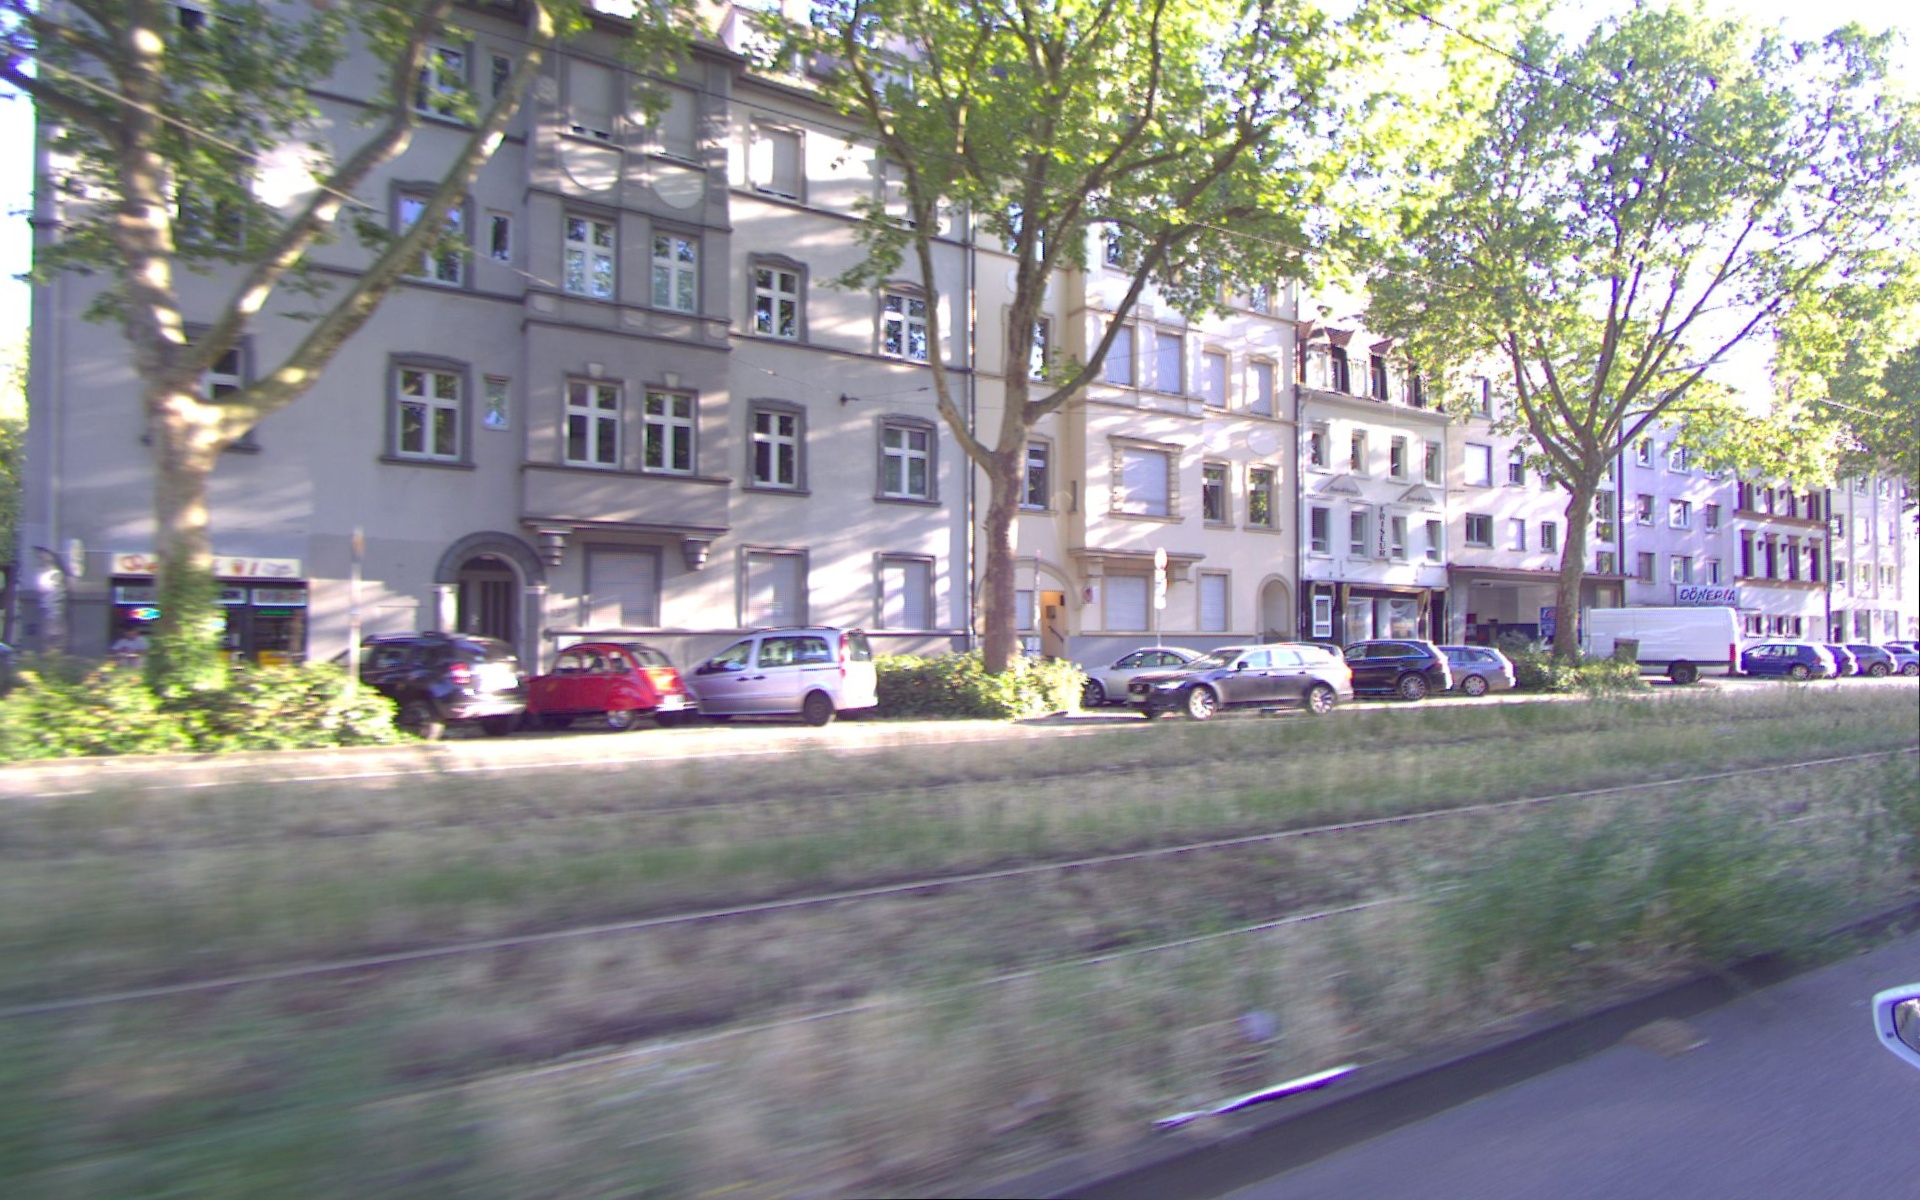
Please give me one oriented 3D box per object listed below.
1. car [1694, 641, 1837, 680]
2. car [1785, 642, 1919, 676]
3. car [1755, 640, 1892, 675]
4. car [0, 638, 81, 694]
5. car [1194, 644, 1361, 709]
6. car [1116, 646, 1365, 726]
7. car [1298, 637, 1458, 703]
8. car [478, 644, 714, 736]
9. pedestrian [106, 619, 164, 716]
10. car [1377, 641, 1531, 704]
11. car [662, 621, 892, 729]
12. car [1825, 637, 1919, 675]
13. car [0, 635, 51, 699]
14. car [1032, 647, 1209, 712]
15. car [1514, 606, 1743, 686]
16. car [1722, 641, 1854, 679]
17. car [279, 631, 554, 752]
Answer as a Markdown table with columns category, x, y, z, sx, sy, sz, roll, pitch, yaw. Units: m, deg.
| category | x | y | z | sx | sy | sz | roll | pitch | yaw |
| --- | --- | --- | --- | --- | --- | --- | --- | --- | --- |
| car | 33.069 | 2.470 | 41.333 | 1.840 | 1.477 | 4.270 | 2 | -3 | -35 |
| car | 41.121 | 2.700 | 46.408 | 4.227 | 1.477 | 1.859 | 0 | -2 | 20 |
| car | 38.505 | 2.550 | 44.916 | 4.227 | 1.477 | 1.859 | 0 | -2 | 20 |
| car | -27.105 | 1.862 | 29.123 | 1.795 | 1.528 | 3.965 | 2 | -2 | -32 |
| car | 8.478 | 2.039 | 26.849 | 3.928 | 1.573 | 1.853 | -4 | -3 | 29 |
| car | 5.713 | 1.707 | 20.402 | 4.853 | 1.479 | 1.743 | 2 | -2 | -22 |
| car | 11.646 | 1.947 | 28.013 | 3.928 | 1.721 | 1.854 | -3 | -4 | 29 |
| car | -6.603 | 1.567 | 18.222 | 3.922 | 1.467 | 1.586 | 0 | -2 | 21 |
| pedestrian | -15.493 | 1.251 | 18.871 | 0.664 | 1.782 | 0.625 | 1 | -2 | -25 |
| car | 14.424 | 2.093 | 29.595 | 3.922 | 1.721 | 1.856 | 0 | -2 | 22 |
| car | -3.520 | 1.413 | 19.652 | 3.919 | 1.906 | 2.001 | 0 | -2 | 14 |
| car | 44.505 | 2.685 | 48.095 | 4.227 | 1.760 | 1.859 | 0 | -2 | 20 |
| car | -24.515 | 1.636 | 25.231 | 1.795 | 1.528 | 3.965 | 2 | -2 | -32 |
| car | 3.857 | 1.867 | 24.226 | 3.927 | 1.374 | 1.584 | 0 | -3 | 29 |
| car | 24.465 | 1.660 | 36.989 | 6.855 | 2.713 | 2.176 | -1 | -3 | 40 |
| car | 35.162 | 2.537 | 42.815 | 4.245 | 1.477 | 1.851 | -1 | -3 | 38 |
| car | -8.844 | 1.416 | 16.383 | 3.922 | 1.746 | 1.785 | 0 | -2 | 21 |
